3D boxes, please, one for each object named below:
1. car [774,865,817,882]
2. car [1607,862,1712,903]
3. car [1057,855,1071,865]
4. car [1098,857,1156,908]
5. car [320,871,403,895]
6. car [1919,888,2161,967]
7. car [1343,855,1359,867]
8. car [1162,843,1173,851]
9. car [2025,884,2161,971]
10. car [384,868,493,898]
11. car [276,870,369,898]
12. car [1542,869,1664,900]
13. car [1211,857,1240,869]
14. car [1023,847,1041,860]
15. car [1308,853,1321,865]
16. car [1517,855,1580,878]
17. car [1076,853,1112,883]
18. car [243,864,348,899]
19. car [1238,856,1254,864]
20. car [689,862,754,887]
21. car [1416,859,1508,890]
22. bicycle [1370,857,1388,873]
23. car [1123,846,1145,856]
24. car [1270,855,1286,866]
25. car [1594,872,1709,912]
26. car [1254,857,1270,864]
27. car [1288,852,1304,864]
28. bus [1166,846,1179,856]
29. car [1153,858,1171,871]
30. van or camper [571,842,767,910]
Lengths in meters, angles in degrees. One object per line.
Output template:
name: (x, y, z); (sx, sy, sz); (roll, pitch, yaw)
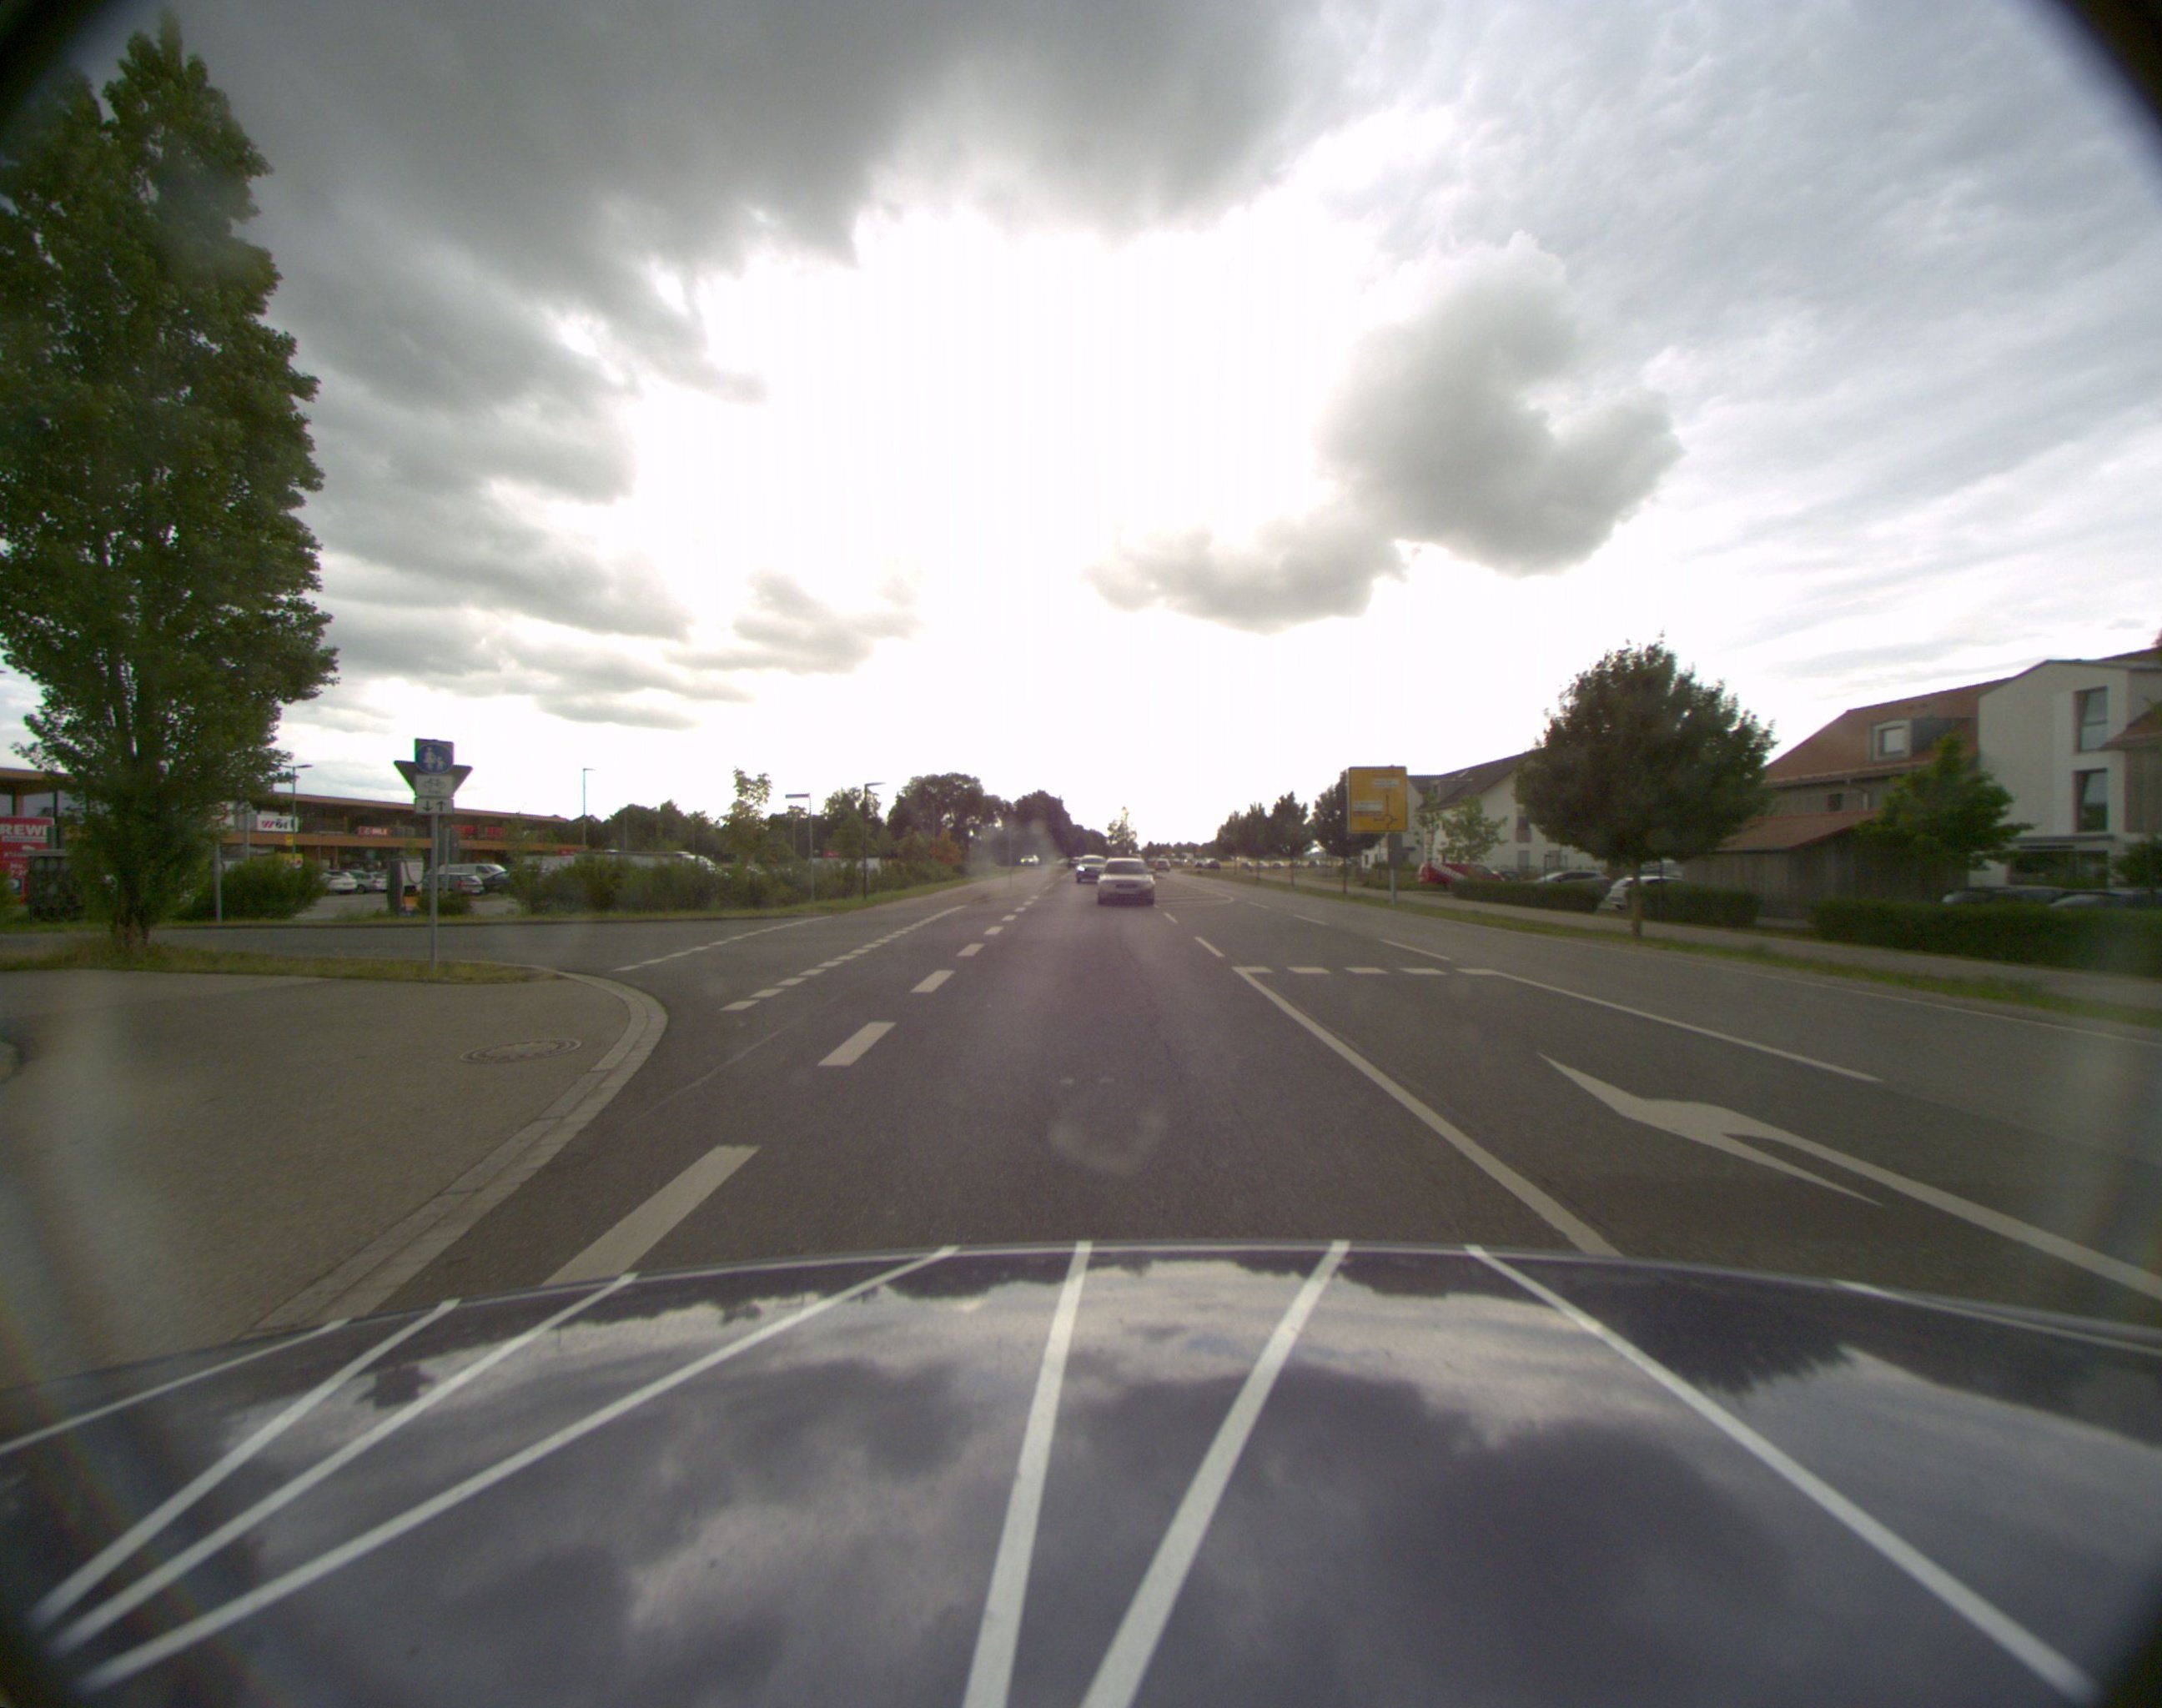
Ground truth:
car: (-27.917, 1.907, 74.388); (3.558, 1.524, 1.753); (1, 0, -1)
car: (31.663, 1.477, 41.805); (1.998, 2.002, 5.202); (-3, 0, 4)
car: (-2.799, 0.963, 125.100); (1.998, 1.674, 4.001); (1, 0, 3)
car: (1.505, 0.859, 24.641); (1.700, 1.457, 4.001); (1, 1, 4)
car: (-47.204, 1.888, 49.886); (3.746, 1.469, 1.793); (1, 0, 1)
car: (23.193, 1.709, 18.166); (3.996, 1.608, 2.000); (1, 0, 2)
car: (47.971, 1.256, 134.864); (1.994, 2.002, 4.008); (2, 0, 29)
car: (16.609, -1.366, 146.346); (1.774, 1.435, 4.000); (1, 0, 1)
car: (22.775, 1.508, 15.659); (3.996, 1.608, 2.000); (1, 0, 2)
car: (-34.505, 1.541, 40.894); (4.188, 1.424, 1.902); (1, 0, -1)
car: (-47.114, 1.832, 47.279); (3.746, 1.598, 2.039); (1, 0, 1)
car: (26.833, 1.541, 39.183); (4.917, 1.422, 1.906); (1, 0, 2)
car: (21.702, 1.401, 114.358); (4.209, 1.573, 1.833); (2, 0, 10)
car: (-7.430, -0.075, 114.183); (2.001, 2.002, 4.236); (1, 0, -13)
car: (41.461, 0.925, 134.983); (1.996, 2.002, 4.005); (2, 0, 16)
car: (33.039, 0.849, 53.844); (1.998, 1.499, 4.000); (1, 0, 1)
car: (0.796, 0.768, 43.533); (1.869, 1.578, 5.063); (0, 0, 3)
car: (-45.819, 1.601, 44.381); (3.903, 1.900, 2.039); (1, 0, -1)
car: (30.631, 1.096, 140.908); (1.995, 1.280, 4.008); (1, 0, 25)
car: (-28.992, 1.599, 61.344); (4.269, 1.860, 2.001); (1, 0, 5)
car: (24.649, 1.310, 49.294); (4.915, 1.805, 1.907); (1, 0, 6)
bicycle: (26.743, 1.007, 68.198); (0.684, 1.404, 2.344); (1, 0, 1)
car: (9.582, -0.465, 136.223); (1.994, 1.674, 4.009); (2, 0, 38)
car: (35.945, 1.225, 138.410); (1.995, 2.002, 4.008); (2, 0, 25)
car: (23.534, 1.553, 31.408); (3.523, 1.480, 1.563); (1, 0, 1)
car: (33.268, 1.159, 139.396); (1.995, 1.280, 4.008); (1, 0, 25)
car: (38.699, 0.717, 136.551); (1.995, 2.002, 4.008); (2, 0, 25)
bus: (30.258, -0.955, 251.363); (2.992, 3.261, 6.482); (1, 0, -4)
car: (9.741, 1.251, 91.390); (1.774, 1.435, 4.000); (1, 0, 1)
van or camper: (-16.290, 0.845, 30.337); (6.483, 2.450, 2.281); (1, 0, -2)
